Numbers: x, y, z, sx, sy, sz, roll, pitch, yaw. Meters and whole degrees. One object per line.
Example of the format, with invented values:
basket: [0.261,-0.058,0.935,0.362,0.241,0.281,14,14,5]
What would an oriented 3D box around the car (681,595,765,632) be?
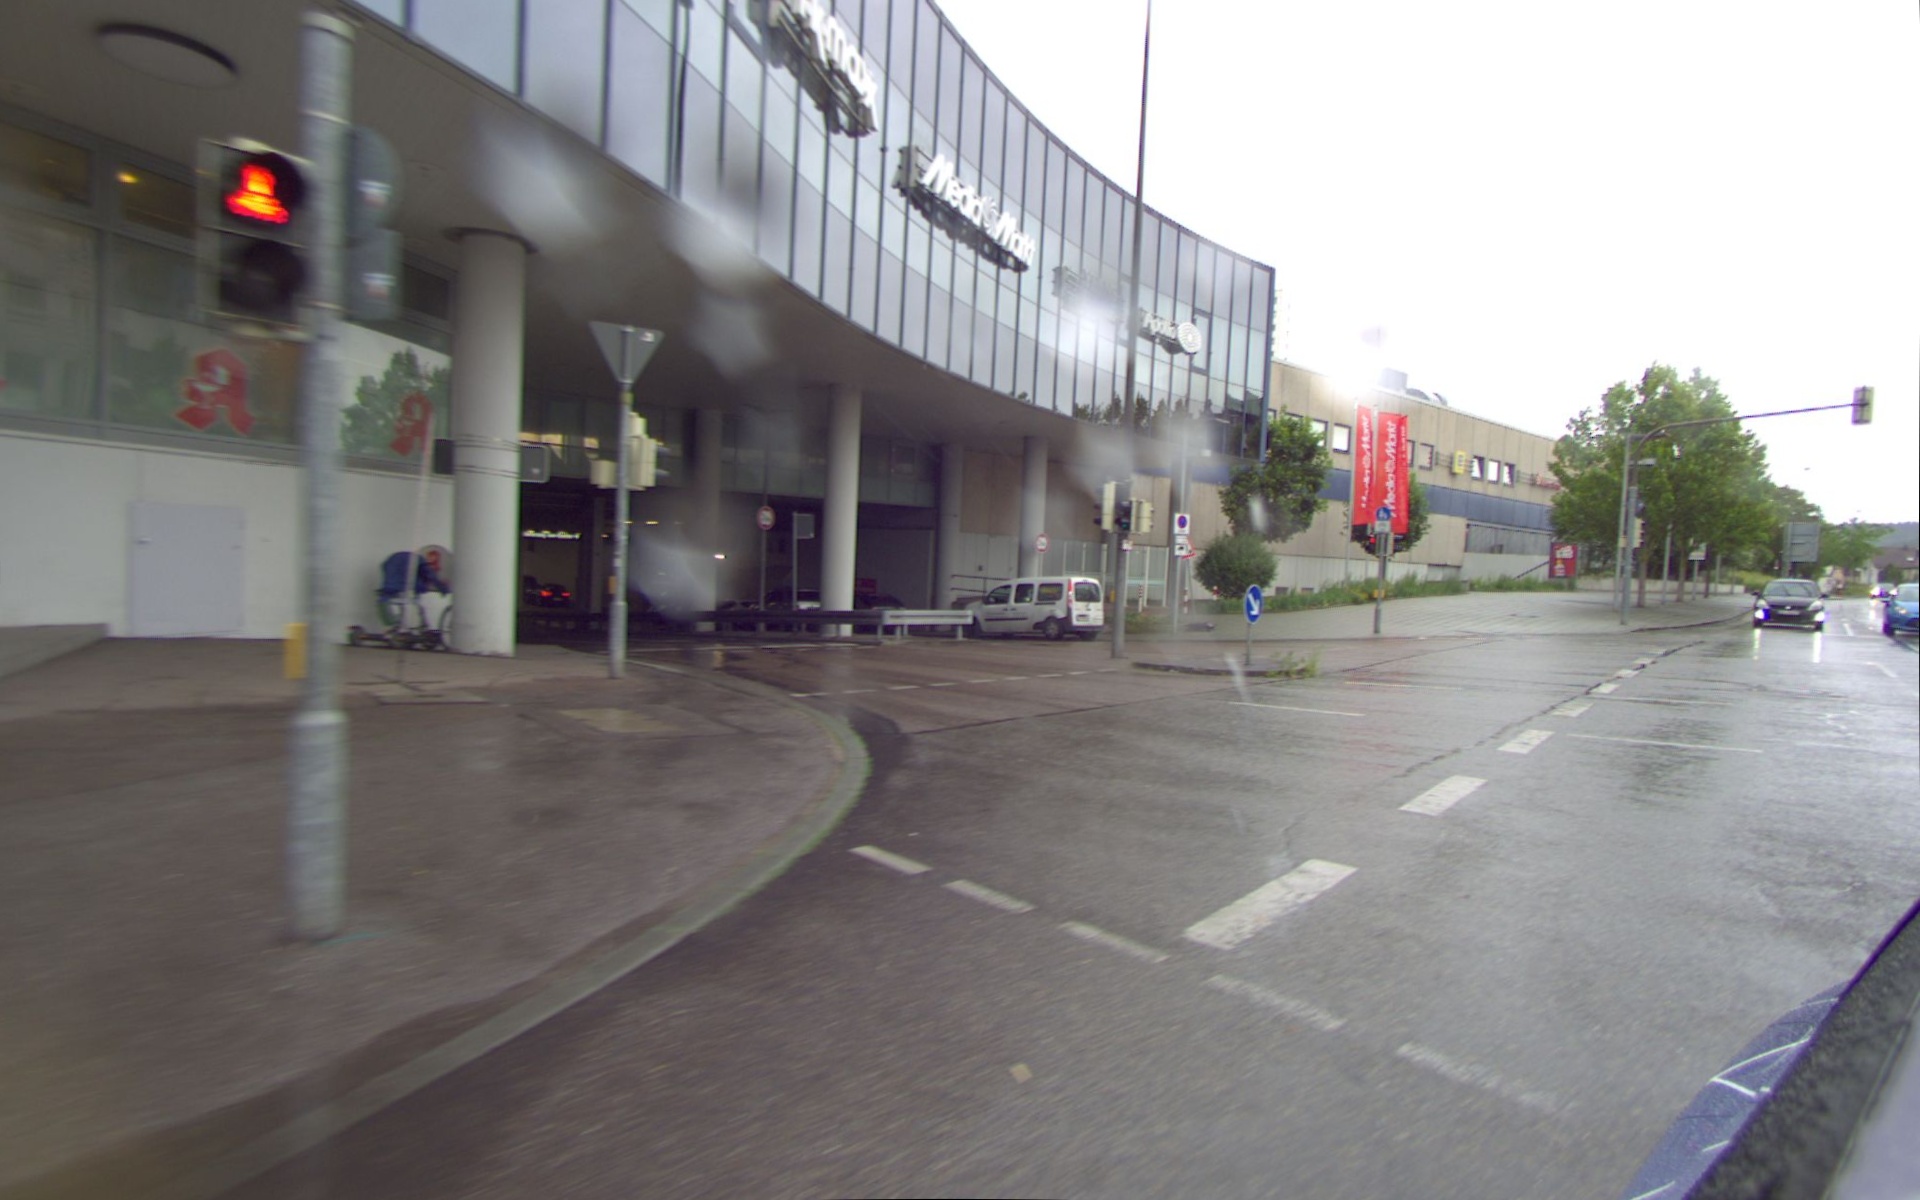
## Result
car: [-9.940,0.591,42.286,1.754,1.418,3.992,0,-2,-41]

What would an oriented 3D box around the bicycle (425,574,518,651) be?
bicycle: [-7.139,0.210,14.866,0.444,1.031,1.584,3,-4,3]

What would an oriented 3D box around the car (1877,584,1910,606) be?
car: [84.262,-0.461,91.325,1.995,1.798,3.935,4,1,44]

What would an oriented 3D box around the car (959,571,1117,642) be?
car: [2.152,0.127,28.909,4.284,1.819,1.901,3,2,45]

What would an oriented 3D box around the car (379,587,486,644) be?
car: [-14.784,0.435,28.272,1.865,1.488,4.021,0,-1,-40]

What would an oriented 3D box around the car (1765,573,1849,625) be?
car: [26.171,-0.085,31.243,1.739,1.411,3.640,4,4,43]

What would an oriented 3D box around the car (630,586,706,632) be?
car: [-13.322,0.365,46.085,1.766,1.792,3.995,-1,3,-41]

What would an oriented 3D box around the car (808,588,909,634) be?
car: [-3.515,0.338,34.601,1.730,1.482,3.943,-1,1,-35]

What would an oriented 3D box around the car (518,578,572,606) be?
car: [-25.802,-0.490,62.942,1.862,1.509,3.834,2,2,-43]

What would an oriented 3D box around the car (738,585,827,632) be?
car: [-6.763,0.341,38.190,1.607,1.632,4.261,-1,0,-35]

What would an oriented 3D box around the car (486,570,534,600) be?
car: [-29.995,-1.014,67.460,1.815,1.799,3.585,2,1,-43]

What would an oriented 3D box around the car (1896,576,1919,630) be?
car: [27.746,0.080,28.675,1.673,1.414,3.798,4,4,42]

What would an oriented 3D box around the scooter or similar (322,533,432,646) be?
scooter or similar: [-7.570,-0.133,13.176,0.483,1.390,1.163,3,1,18]
